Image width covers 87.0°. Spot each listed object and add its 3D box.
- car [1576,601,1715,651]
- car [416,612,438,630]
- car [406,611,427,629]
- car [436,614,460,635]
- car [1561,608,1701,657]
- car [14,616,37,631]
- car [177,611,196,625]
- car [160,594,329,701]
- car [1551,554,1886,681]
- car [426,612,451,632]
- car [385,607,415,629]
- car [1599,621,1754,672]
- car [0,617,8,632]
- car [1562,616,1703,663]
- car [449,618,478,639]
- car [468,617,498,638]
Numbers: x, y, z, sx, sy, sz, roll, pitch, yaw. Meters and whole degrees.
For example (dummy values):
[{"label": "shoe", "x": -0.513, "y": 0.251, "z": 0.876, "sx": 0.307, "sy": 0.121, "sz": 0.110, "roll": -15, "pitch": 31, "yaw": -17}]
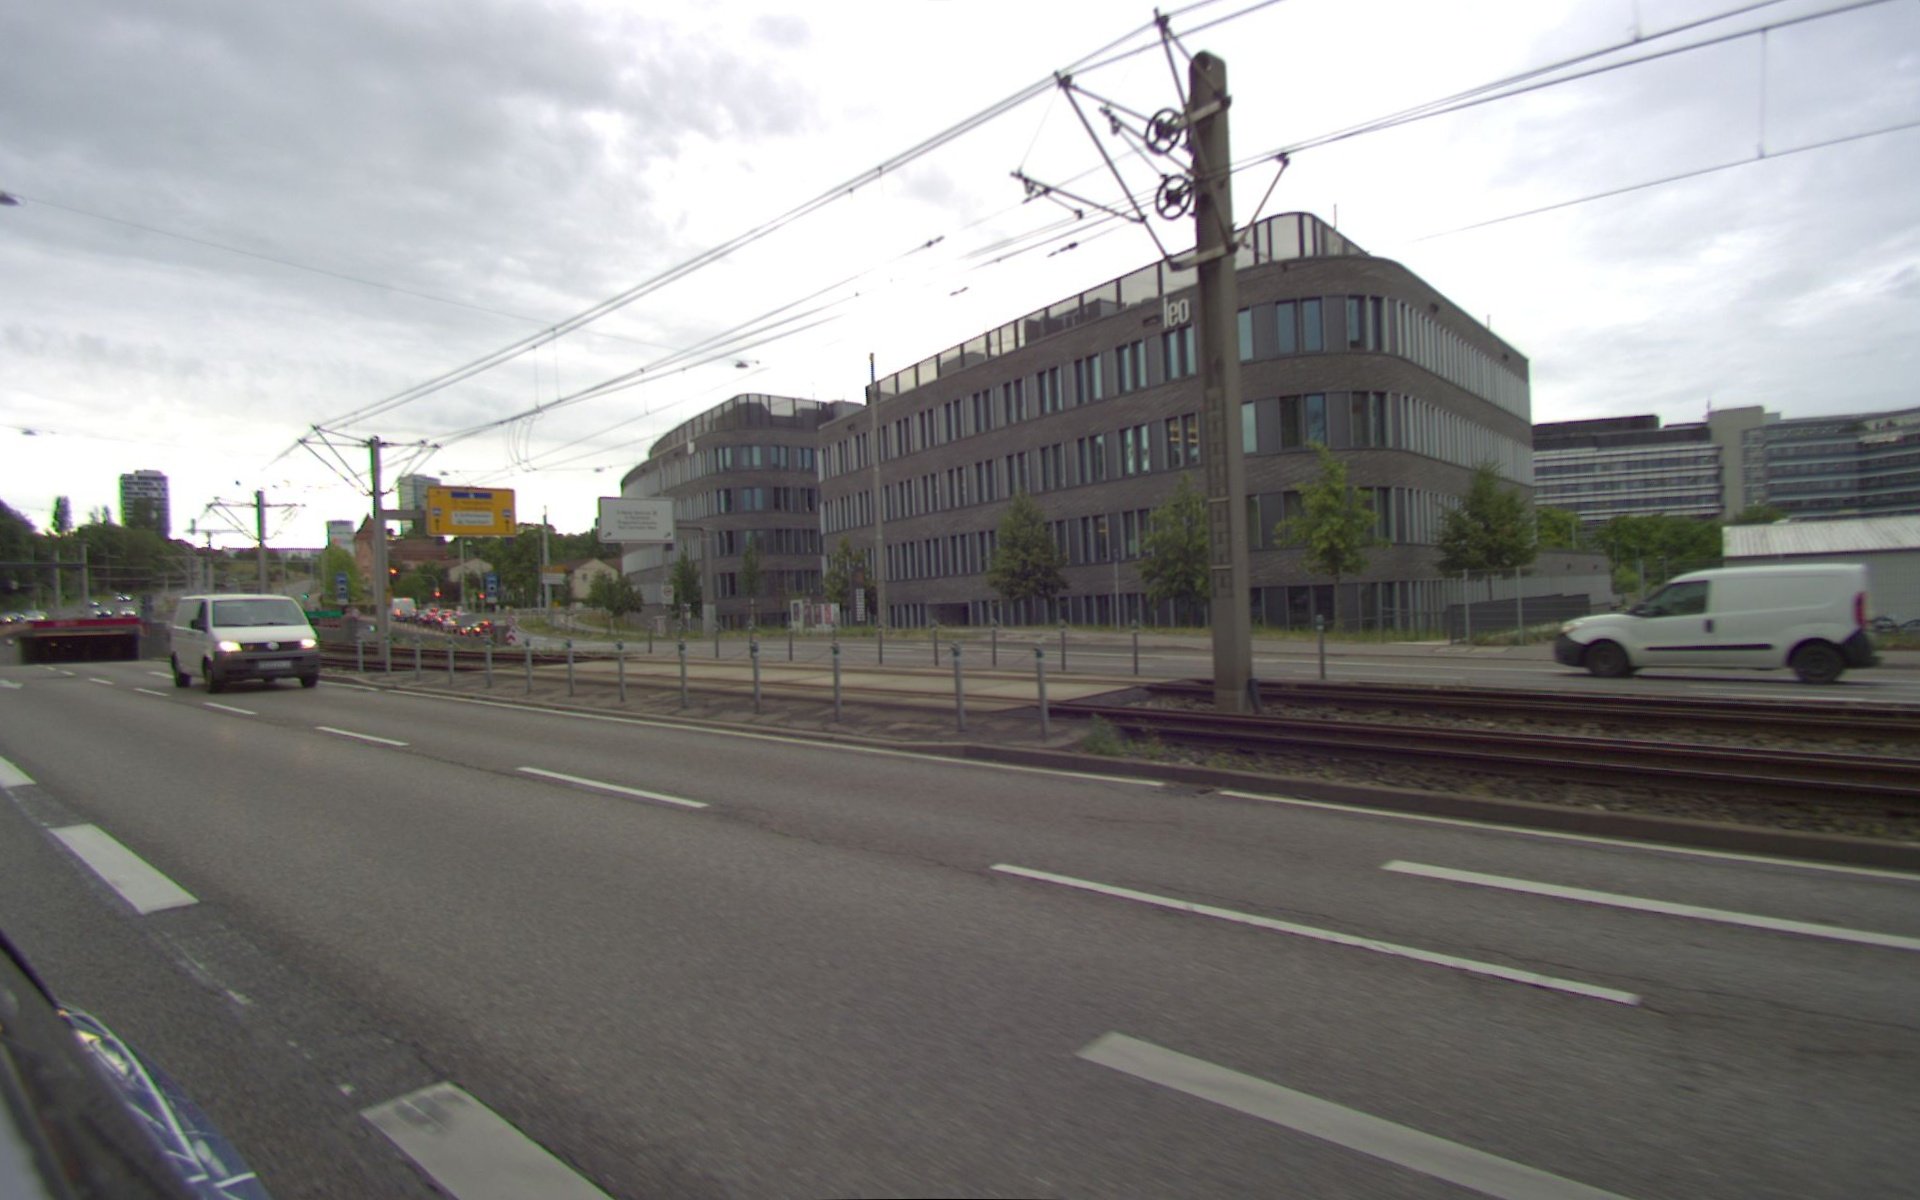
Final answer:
[{"label": "car", "x": 24.891, "y": 0.913, "z": 36.811, "sx": 3.998, "sy": 1.666, "sz": 1.722, "roll": -1, "pitch": 0, "yaw": 41}, {"label": "car", "x": -57.285, "y": 2.198, "z": 108.719, "sx": 1.643, "sy": 1.833, "sz": 4.010, "roll": -1, "pitch": 0, "yaw": -34}, {"label": "car", "x": -61.613, "y": 2.280, "z": 114.694, "sx": 1.644, "sy": 1.918, "sz": 4.010, "roll": -1, "pitch": 0, "yaw": -36}, {"label": "car", "x": -49.647, "y": 2.367, "z": 98.083, "sx": 1.643, "sy": 1.918, "sz": 4.011, "roll": -1, "pitch": 0, "yaw": -32}, {"label": "car", "x": 22.843, "y": 1.078, "z": 34.520, "sx": 3.787, "sy": 1.556, "sz": 1.722, "roll": -1, "pitch": 0, "yaw": 41}, {"label": "car", "x": -133.688, "y": 3.340, "z": 144.782, "sx": 3.998, "sy": 2.029, "sz": 1.973, "roll": -1, "pitch": 0, "yaw": 41}, {"label": "car", "x": -113.691, "y": 2.662, "z": 148.781, "sx": 1.969, "sy": 1.962, "sz": 4.007, "roll": -1, "pitch": 0, "yaw": -40}, {"label": "car", "x": -15.165, "y": 0.931, "z": 21.336, "sx": 4.716, "sy": 1.973, "sz": 1.889, "roll": -1, "pitch": 0, "yaw": 42}, {"label": "car", "x": 12.331, "y": 0.297, "z": 16.627, "sx": 4.215, "sy": 1.811, "sz": 1.811, "roll": -2, "pitch": -2, "yaw": 43}, {"label": "car", "x": -53.308, "y": 2.235, "z": 103.408, "sx": 1.644, "sy": 1.918, "sz": 4.009, "roll": -1, "pitch": 0, "yaw": -36}, {"label": "car", "x": -66.473, "y": 2.151, "z": 120.124, "sx": 2.301, "sy": 2.486, "sz": 7.043, "roll": -1, "pitch": 0, "yaw": -36}, {"label": "car", "x": 20.843, "y": 1.312, "z": 29.496, "sx": 3.567, "sy": 1.345, "sz": 1.601, "roll": -1, "pitch": 0, "yaw": 41}, {"label": "car", "x": -137.958, "y": 3.498, "z": 144.865, "sx": 3.998, "sy": 2.029, "sz": 1.973, "roll": -1, "pitch": 0, "yaw": 41}, {"label": "car", "x": 21.413, "y": 1.216, "z": 32.280, "sx": 3.567, "sy": 1.393, "sz": 1.525, "roll": -1, "pitch": 0, "yaw": 41}, {"label": "car", "x": -46.143, "y": 2.634, "z": 94.051, "sx": 1.807, "sy": 1.811, "sz": 4.226, "roll": 0, "pitch": -1, "yaw": -34}, {"label": "car", "x": -42.471, "y": 2.433, "z": 90.060, "sx": 1.807, "sy": 1.811, "sz": 4.226, "roll": 0, "pitch": -1, "yaw": -34}]
